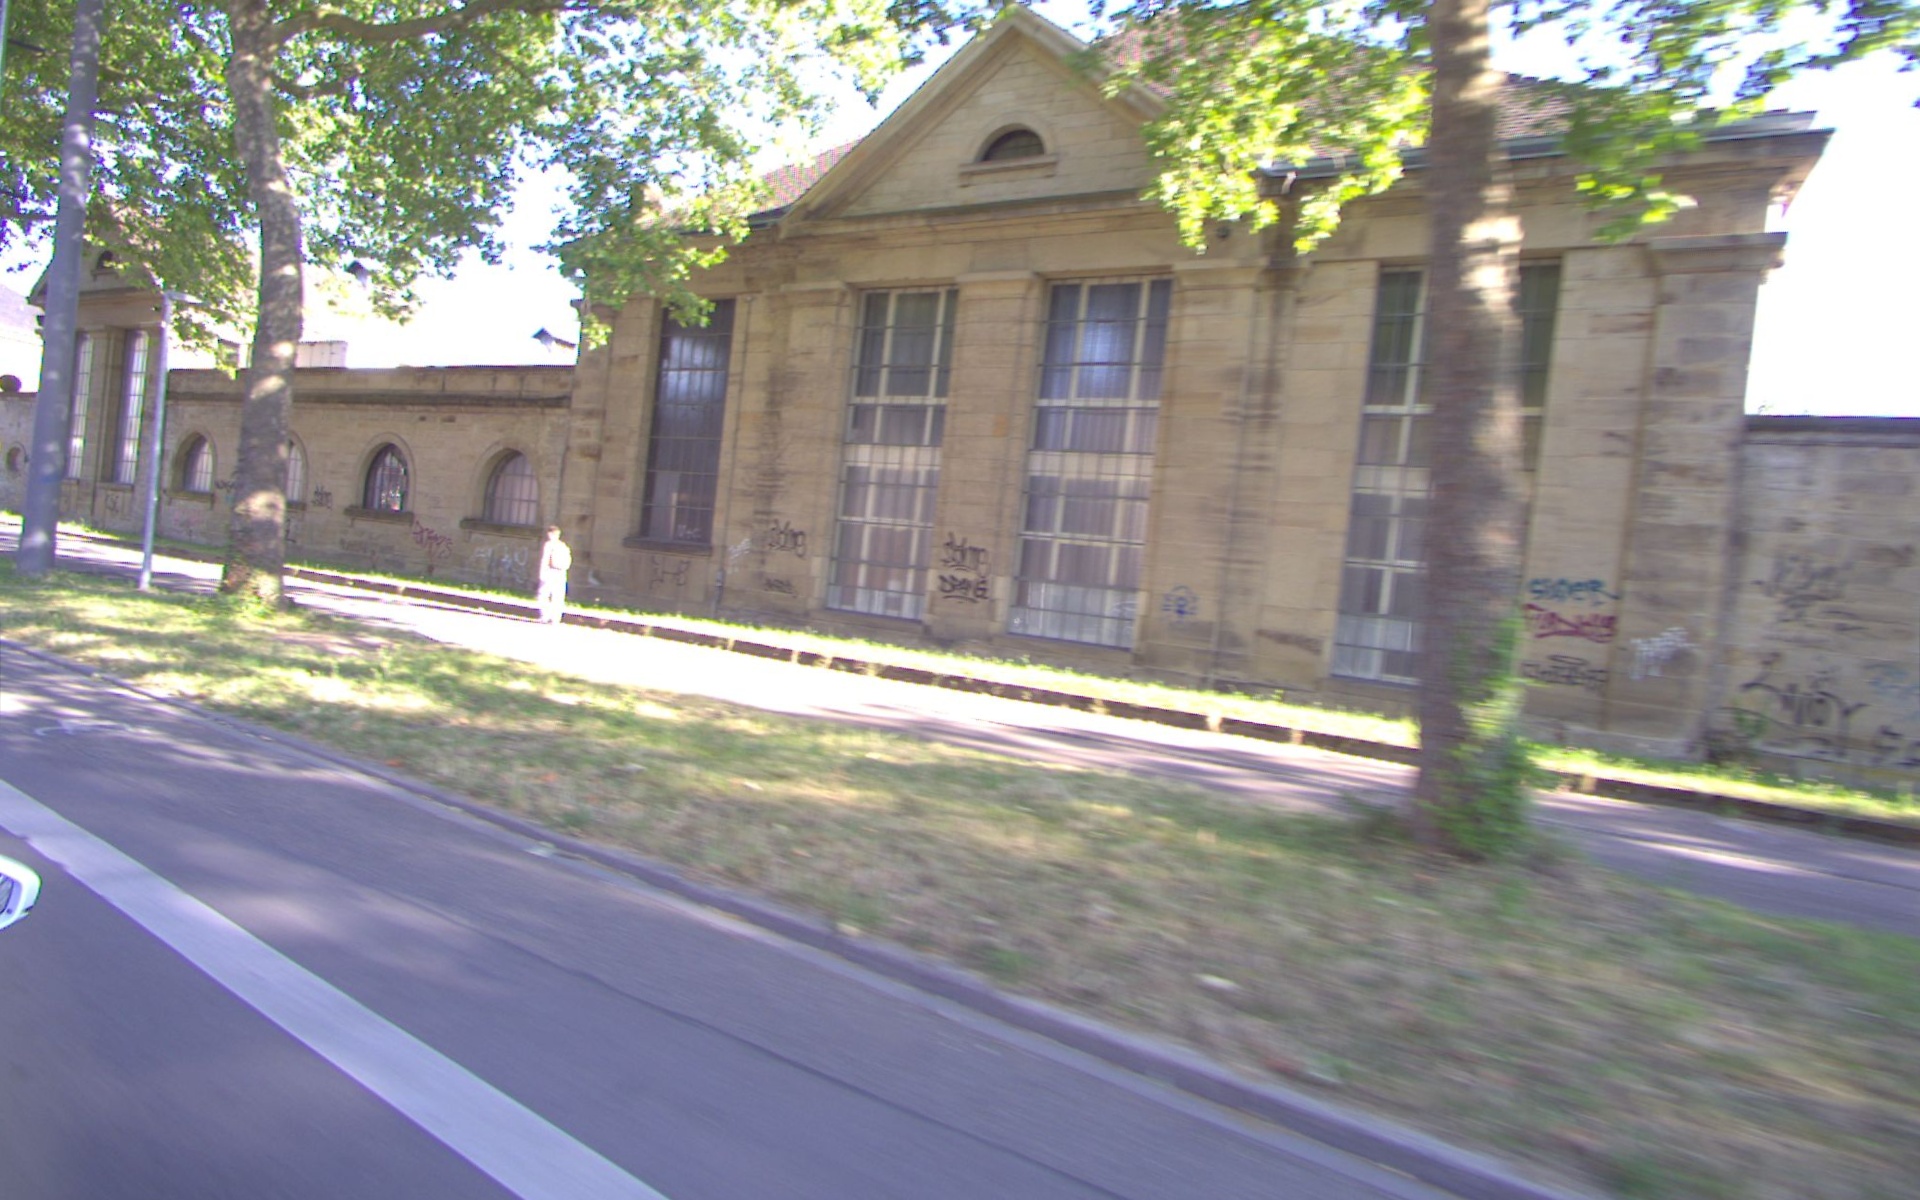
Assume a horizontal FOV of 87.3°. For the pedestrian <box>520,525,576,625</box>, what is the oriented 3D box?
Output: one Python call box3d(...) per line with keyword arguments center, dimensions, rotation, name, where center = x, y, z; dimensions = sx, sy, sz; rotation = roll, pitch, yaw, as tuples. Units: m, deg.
box3d(center=(-7.338, -0.450, 17.914), dimensions=(0.625, 1.706, 0.608), rotation=(7, 6, 27), name="pedestrian")
